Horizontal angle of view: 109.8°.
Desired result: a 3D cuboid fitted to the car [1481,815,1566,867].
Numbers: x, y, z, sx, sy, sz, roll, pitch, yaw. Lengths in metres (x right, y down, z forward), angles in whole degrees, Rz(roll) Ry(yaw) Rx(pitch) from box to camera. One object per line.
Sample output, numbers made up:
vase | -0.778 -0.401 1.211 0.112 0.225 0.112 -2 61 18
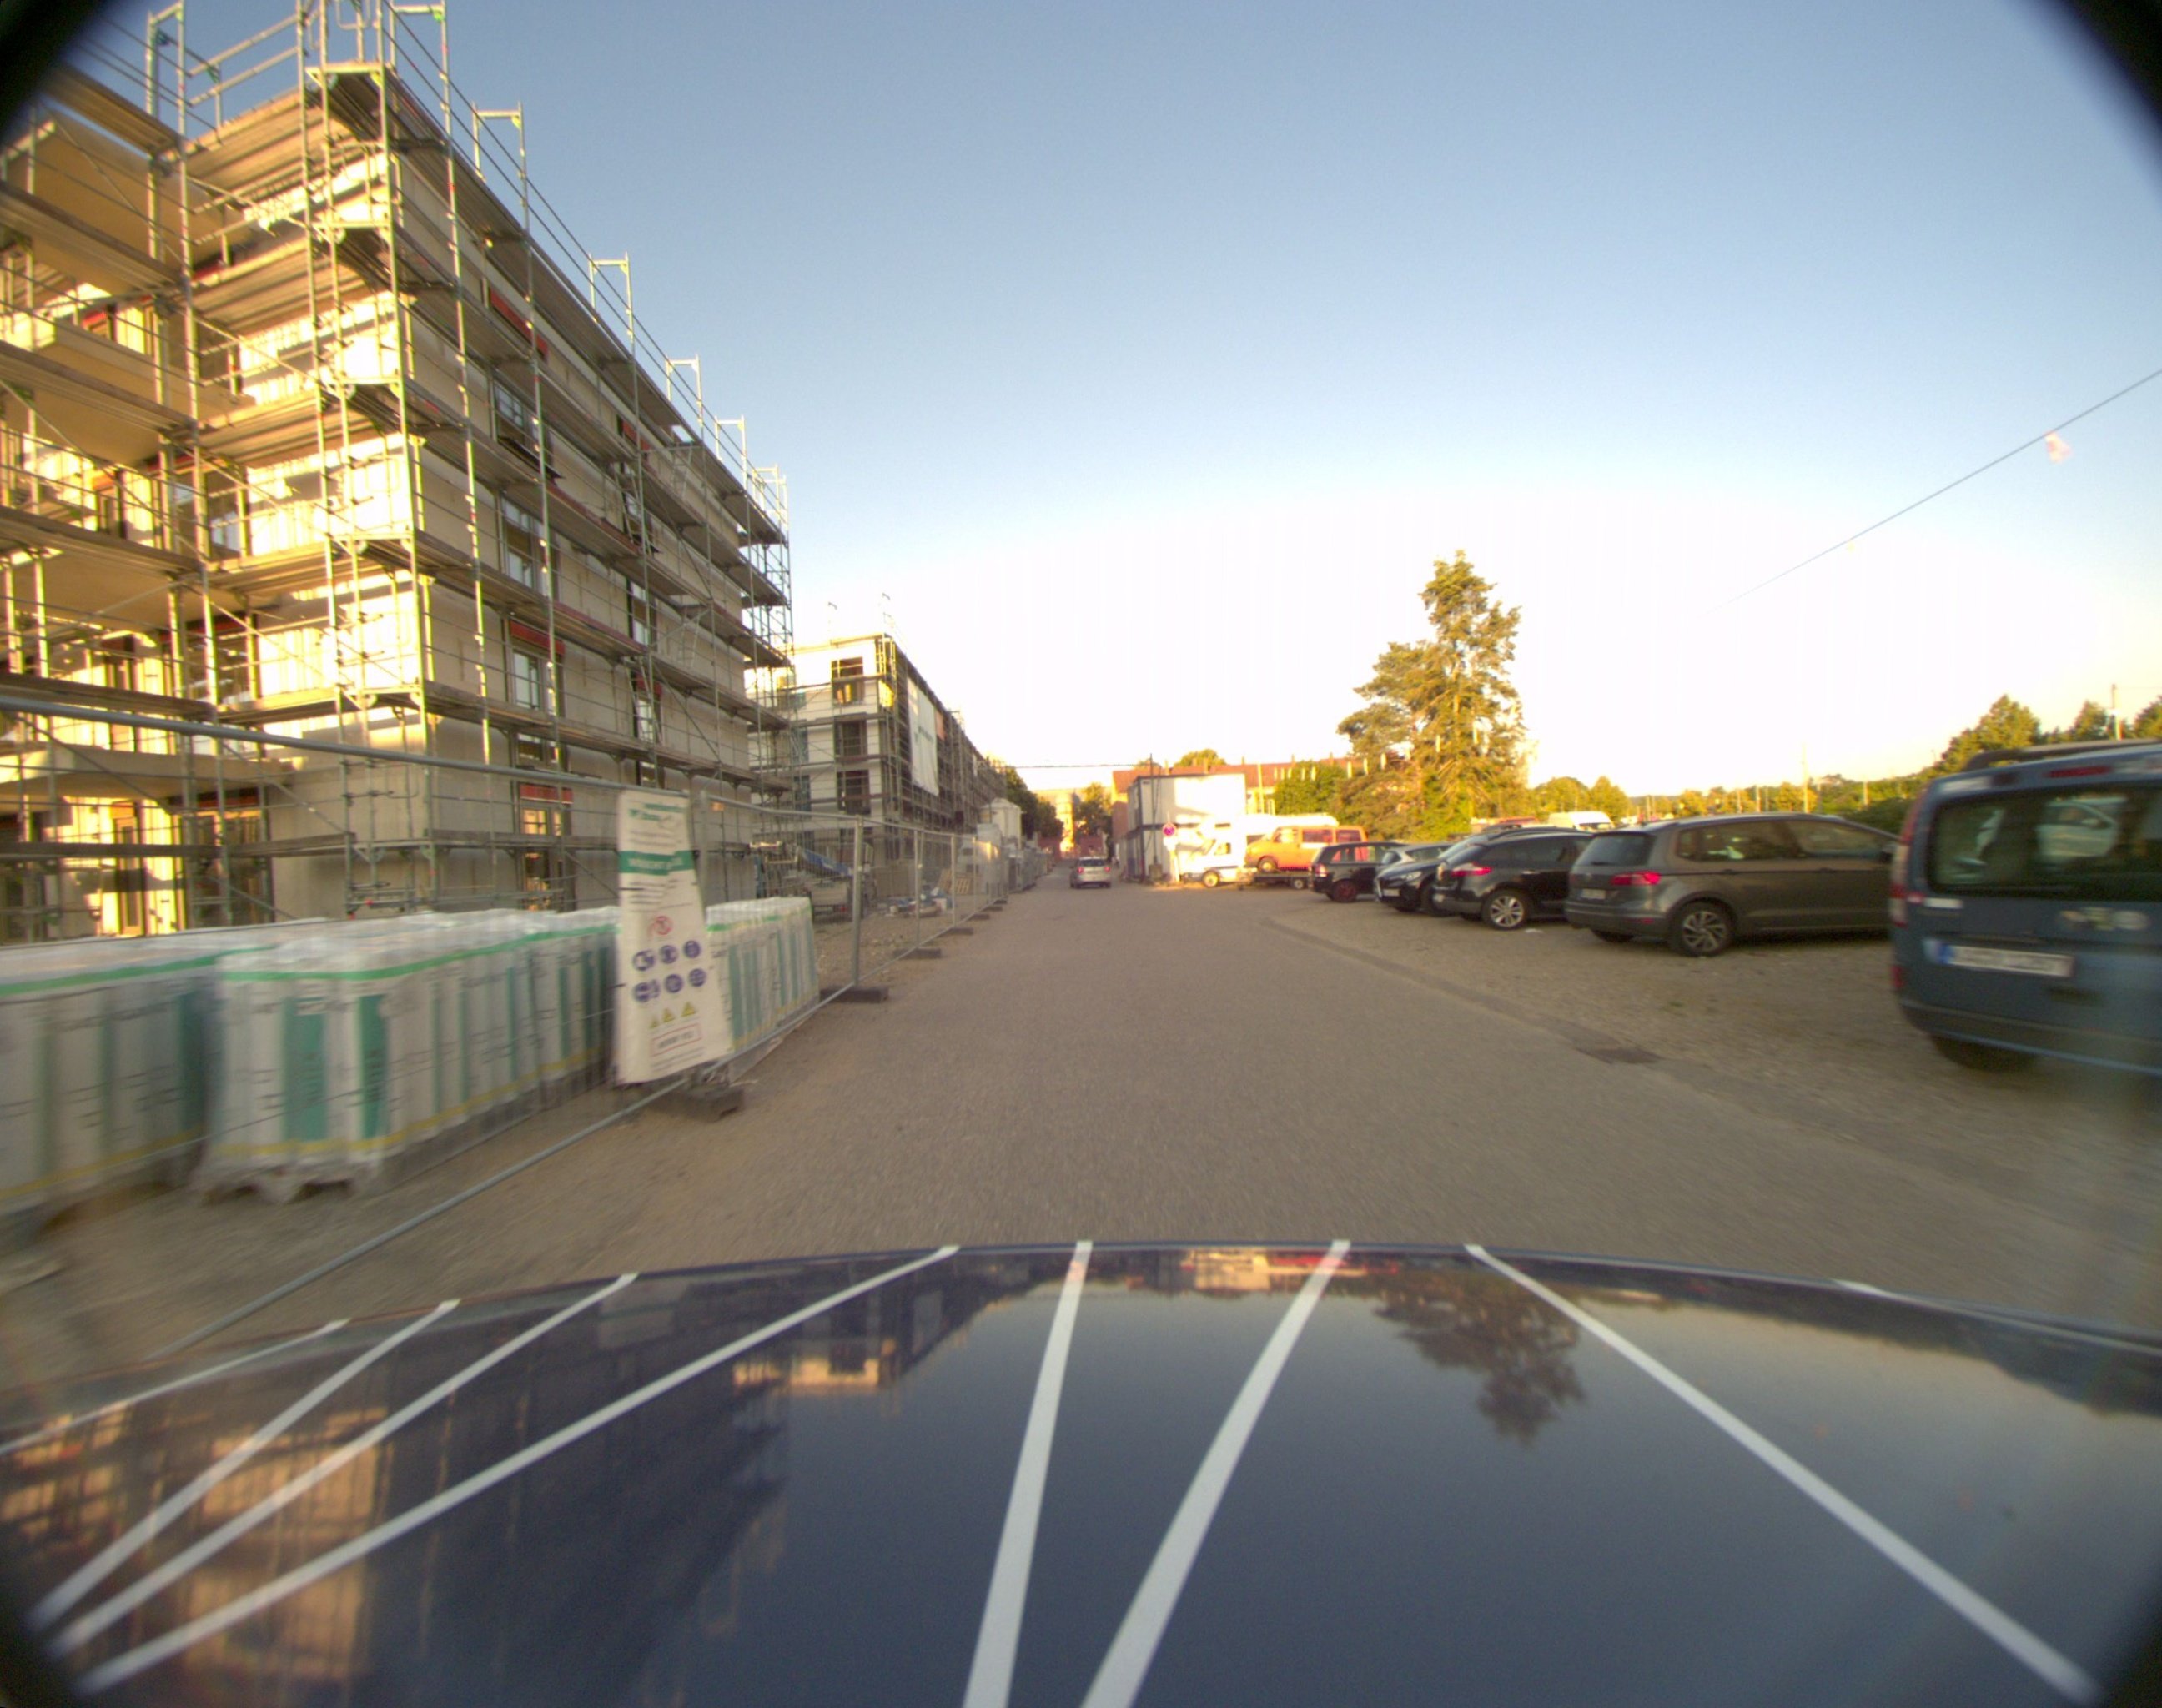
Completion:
car | 20.601 -0.508 35.631 1.846 2.135 4.827 -3 -2 11

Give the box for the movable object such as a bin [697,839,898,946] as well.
movable object such as a bin | -7.145 0.822 20.636 2.070 2.260 8.368 -2 0 1

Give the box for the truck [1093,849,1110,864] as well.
truck | 3.040 0.393 112.379 1.842 2.089 3.738 -5 1 -7

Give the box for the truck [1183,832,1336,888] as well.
truck | 7.569 0.247 32.736 6.025 2.031 2.356 -3 0 3

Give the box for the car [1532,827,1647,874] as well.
car | 18.726 -0.139 28.203 1.847 1.514 3.940 -3 0 6

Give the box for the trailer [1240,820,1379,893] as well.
trailer | 8.829 0.071 29.801 4.802 2.419 2.134 -4 2 7

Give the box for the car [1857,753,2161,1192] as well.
car | 6.546 0.367 3.715 3.937 1.900 1.747 -5 0 -7

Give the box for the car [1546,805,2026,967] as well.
car | 8.056 0.374 9.033 3.933 1.571 1.644 -3 0 6

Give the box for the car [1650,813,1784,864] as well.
car | 23.210 -0.552 27.949 1.847 1.659 3.940 -3 0 6

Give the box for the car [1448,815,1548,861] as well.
car | 15.741 -0.582 28.920 1.847 1.514 3.939 -3 0 5

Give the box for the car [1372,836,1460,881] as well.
car | 12.799 0.146 29.306 1.847 1.514 3.939 -3 0 5

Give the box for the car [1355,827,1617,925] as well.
car | 7.794 0.433 14.933 4.099 1.618 1.821 -3 -1 3

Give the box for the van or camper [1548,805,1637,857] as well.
van or camper | 29.130 -1.269 43.541 2.206 2.692 5.752 -3 0 13

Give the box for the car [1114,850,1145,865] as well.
car | 5.936 0.373 93.475 3.726 1.507 1.809 -5 0 2

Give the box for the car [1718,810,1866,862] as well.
car | 25.486 -0.616 27.456 1.847 1.659 3.940 -3 0 6

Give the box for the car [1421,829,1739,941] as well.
car | 7.838 0.472 12.289 3.933 1.508 1.644 -3 1 9

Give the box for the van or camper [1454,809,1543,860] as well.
van or camper | 25.013 -1.119 45.871 2.261 2.754 5.800 -3 0 2

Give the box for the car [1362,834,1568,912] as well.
car | 9.001 0.459 18.141 3.933 1.512 1.810 -4 -1 9

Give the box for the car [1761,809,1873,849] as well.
car | 39.571 -1.299 41.044 2.054 1.925 5.110 -3 0 14

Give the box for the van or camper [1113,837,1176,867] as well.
van or camper | 6.749 -0.217 81.471 6.470 2.625 2.407 -5 0 2

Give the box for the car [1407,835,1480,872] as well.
car | 17.416 0.052 36.713 1.847 1.558 4.827 -3 -2 9

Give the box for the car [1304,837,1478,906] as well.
car | 8.356 0.455 20.840 4.044 1.610 1.850 -3 1 9

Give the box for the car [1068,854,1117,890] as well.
car | 0.500 0.867 38.080 1.676 1.610 4.282 -3 0 -9

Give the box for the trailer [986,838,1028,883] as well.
trailer | -5.079 0.409 53.283 2.581 2.895 6.235 -2 0 -3
